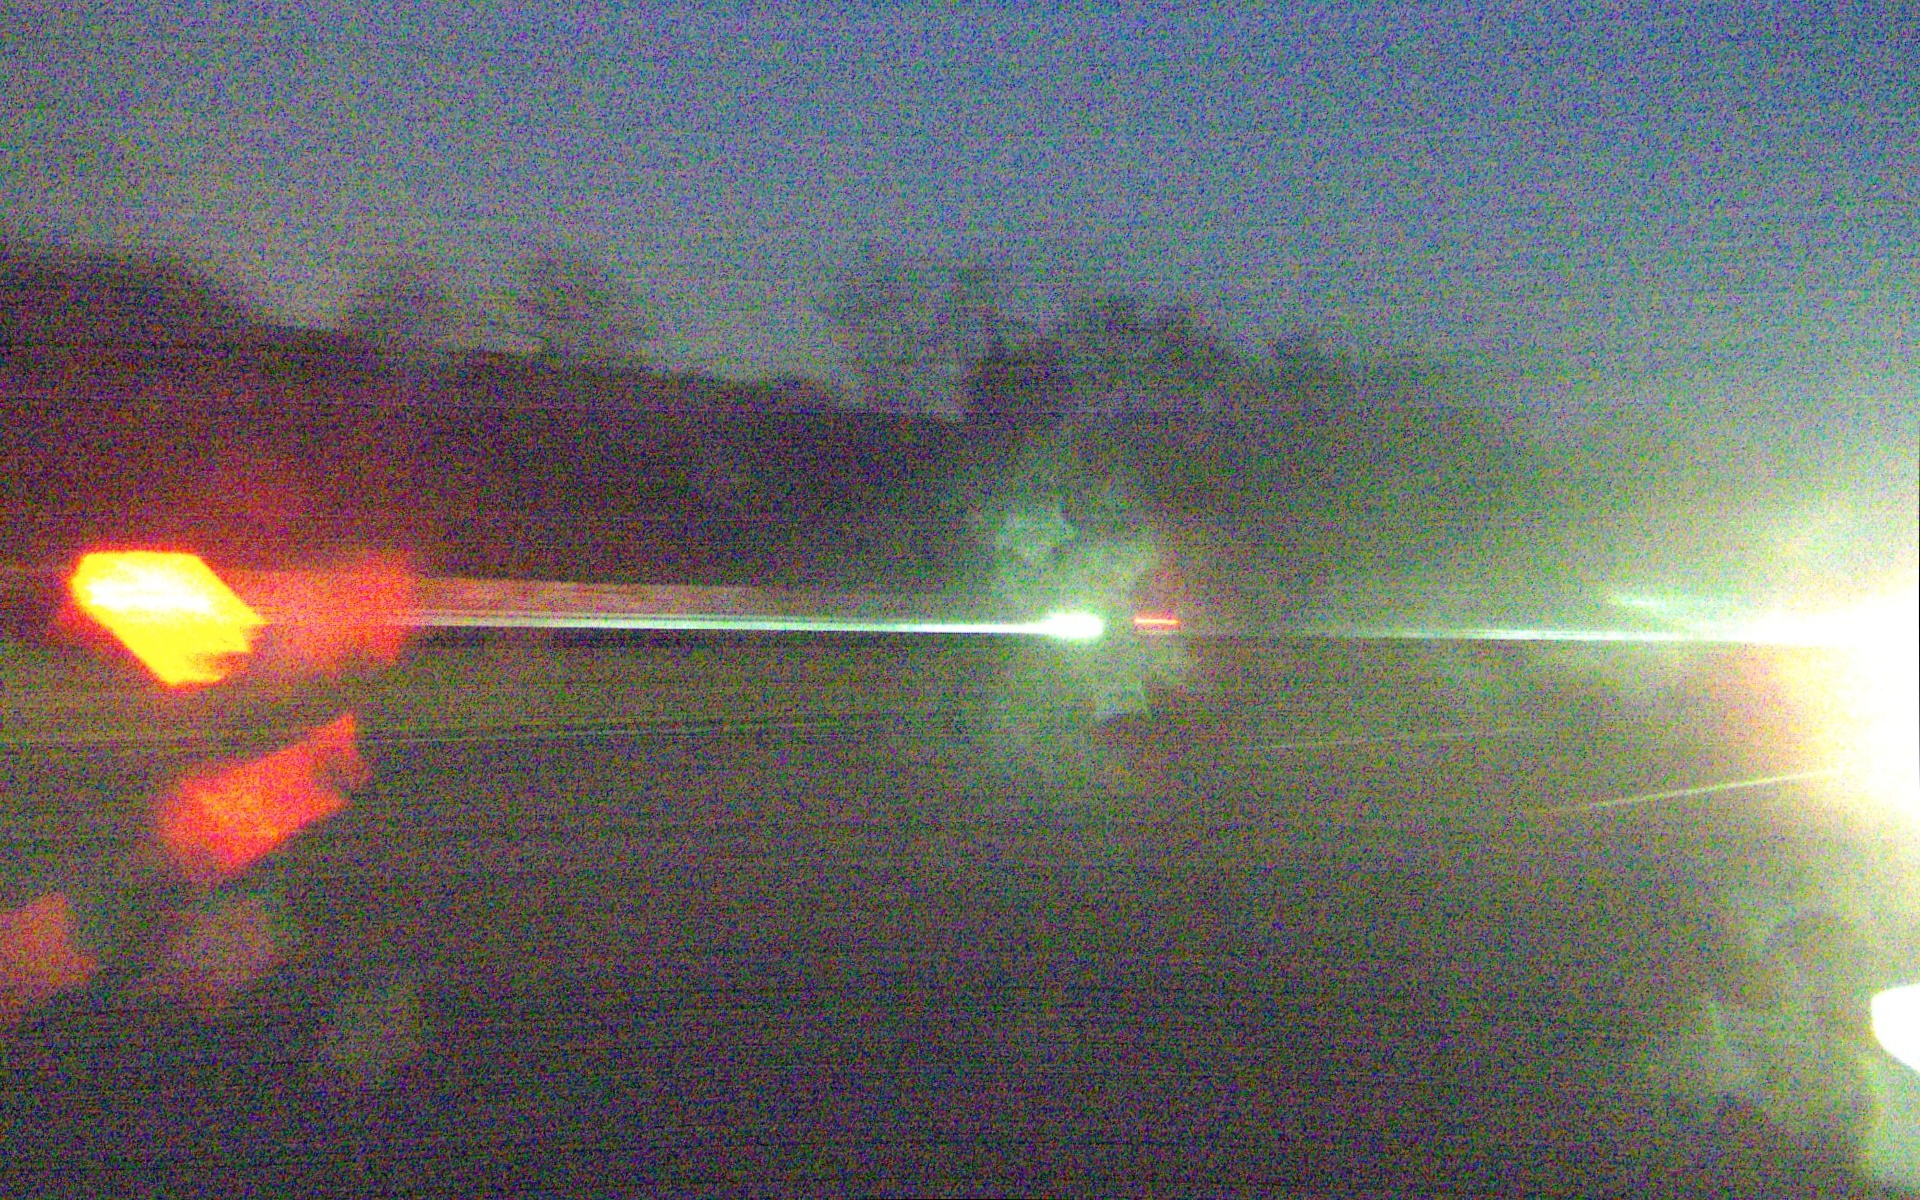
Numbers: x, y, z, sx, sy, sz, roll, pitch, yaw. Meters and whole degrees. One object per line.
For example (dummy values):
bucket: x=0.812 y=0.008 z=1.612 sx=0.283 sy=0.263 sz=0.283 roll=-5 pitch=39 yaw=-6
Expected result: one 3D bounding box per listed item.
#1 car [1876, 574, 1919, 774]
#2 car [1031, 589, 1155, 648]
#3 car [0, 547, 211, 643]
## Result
car: x=12.258 y=0.827 z=10.990 sx=4.960 sy=2.040 sz=1.983 roll=2 pitch=0 yaw=-31
car: x=5.130 y=0.718 z=38.614 sx=4.354 sy=2.041 sz=1.984 roll=2 pitch=2 yaw=-30
car: x=-20.356 y=-0.114 z=23.440 sx=4.354 sy=2.041 sz=1.984 roll=2 pitch=2 yaw=-30
